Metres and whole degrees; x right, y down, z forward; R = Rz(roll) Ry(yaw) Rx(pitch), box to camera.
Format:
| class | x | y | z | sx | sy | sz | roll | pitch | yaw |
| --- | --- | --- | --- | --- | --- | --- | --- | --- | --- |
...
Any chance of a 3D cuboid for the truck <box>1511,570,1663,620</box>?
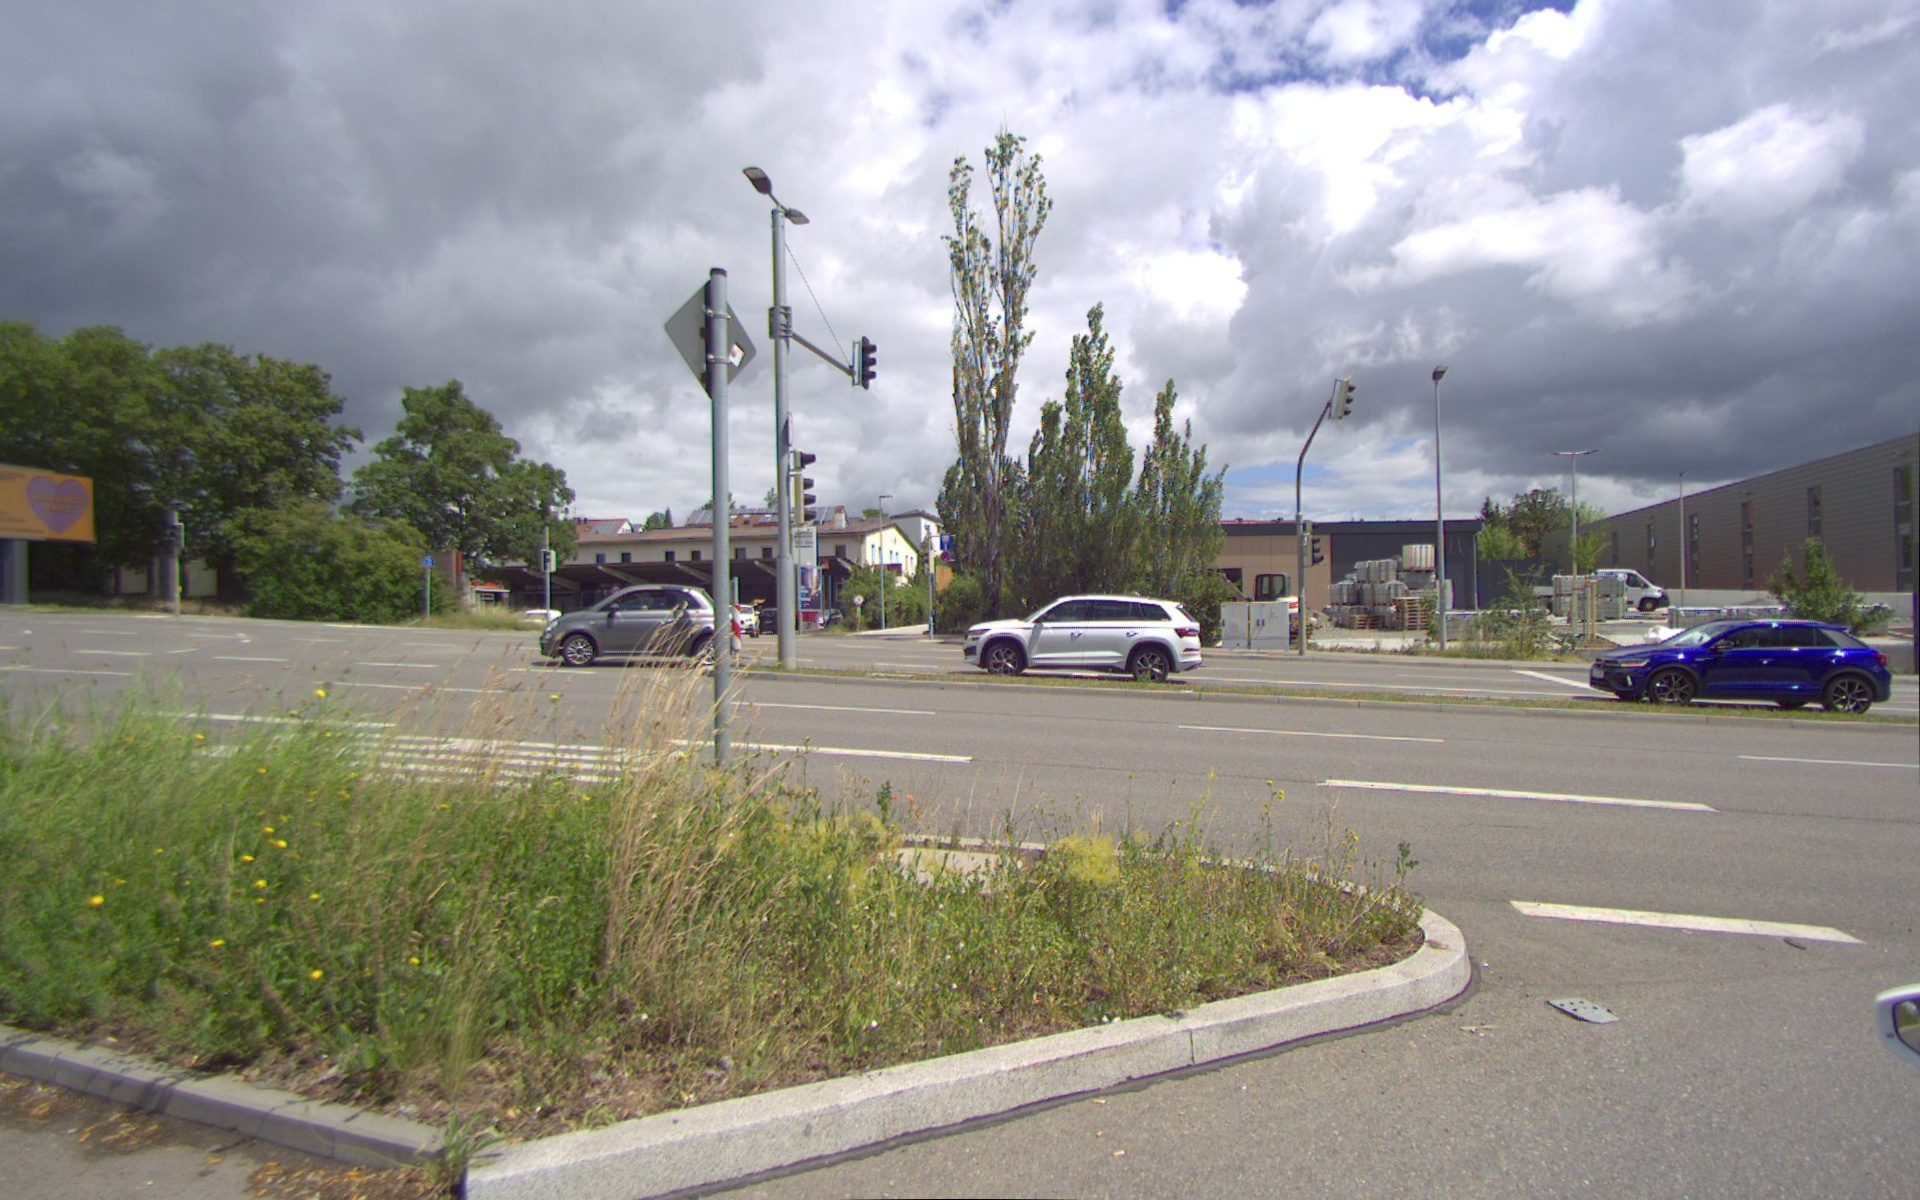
| class | x | y | z | sx | sy | sz | roll | pitch | yaw |
| --- | --- | --- | --- | --- | --- | --- | --- | --- | --- |
| truck | 32.614 | -0.240 | 52.501 | 6.460 | 2.173 | 1.997 | -4 | -1 | 27 |

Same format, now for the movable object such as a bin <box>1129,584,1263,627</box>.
| class | x | y | z | sx | sy | sz | roll | pitch | yaw |
| --- | --- | --- | --- | --- | --- | --- | --- | --- | --- |
| movable object such as a bin | 13.082 | 0.332 | 55.793 | 6.816 | 2.040 | 2.294 | -3 | -1 | 25 |

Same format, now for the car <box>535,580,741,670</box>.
| class | x | y | z | sx | sy | sz | roll | pitch | yaw |
| --- | --- | --- | --- | --- | --- | --- | --- | --- | --- |
| car | -5.907 | 0.444 | 18.736 | 3.465 | 1.480 | 1.581 | -2 | 0 | -15 |

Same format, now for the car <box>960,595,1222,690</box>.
| class | x | y | z | sx | sy | sz | roll | pitch | yaw |
| --- | --- | --- | --- | --- | --- | --- | --- | --- | --- |
| car | 2.508 | 0.772 | 19.479 | 4.802 | 1.681 | 1.734 | 1 | 0 | 8 |

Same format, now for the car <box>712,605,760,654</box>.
| class | x | y | z | sx | sy | sz | roll | pitch | yaw |
| --- | --- | --- | --- | --- | --- | --- | --- | --- | --- |
| car | -10.282 | 1.377 | 46.025 | 1.966 | 2.040 | 3.990 | -3 | -1 | -14 |

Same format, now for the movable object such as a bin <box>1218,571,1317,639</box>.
| class | x | y | z | sx | sy | sz | roll | pitch | yaw |
| --- | --- | --- | --- | --- | --- | --- | --- | --- | --- |
| movable object such as a bin | 12.246 | 0.199 | 39.998 | 3.353 | 2.572 | 2.149 | 1 | 0 | 30 |

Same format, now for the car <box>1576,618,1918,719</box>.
| class | x | y | z | sx | sy | sz | roll | pitch | yaw |
| --- | --- | --- | --- | --- | --- | --- | --- | --- | --- |
| car | 13.504 | 1.124 | 17.543 | 4.309 | 1.531 | 1.811 | 1 | 0 | 14 |
